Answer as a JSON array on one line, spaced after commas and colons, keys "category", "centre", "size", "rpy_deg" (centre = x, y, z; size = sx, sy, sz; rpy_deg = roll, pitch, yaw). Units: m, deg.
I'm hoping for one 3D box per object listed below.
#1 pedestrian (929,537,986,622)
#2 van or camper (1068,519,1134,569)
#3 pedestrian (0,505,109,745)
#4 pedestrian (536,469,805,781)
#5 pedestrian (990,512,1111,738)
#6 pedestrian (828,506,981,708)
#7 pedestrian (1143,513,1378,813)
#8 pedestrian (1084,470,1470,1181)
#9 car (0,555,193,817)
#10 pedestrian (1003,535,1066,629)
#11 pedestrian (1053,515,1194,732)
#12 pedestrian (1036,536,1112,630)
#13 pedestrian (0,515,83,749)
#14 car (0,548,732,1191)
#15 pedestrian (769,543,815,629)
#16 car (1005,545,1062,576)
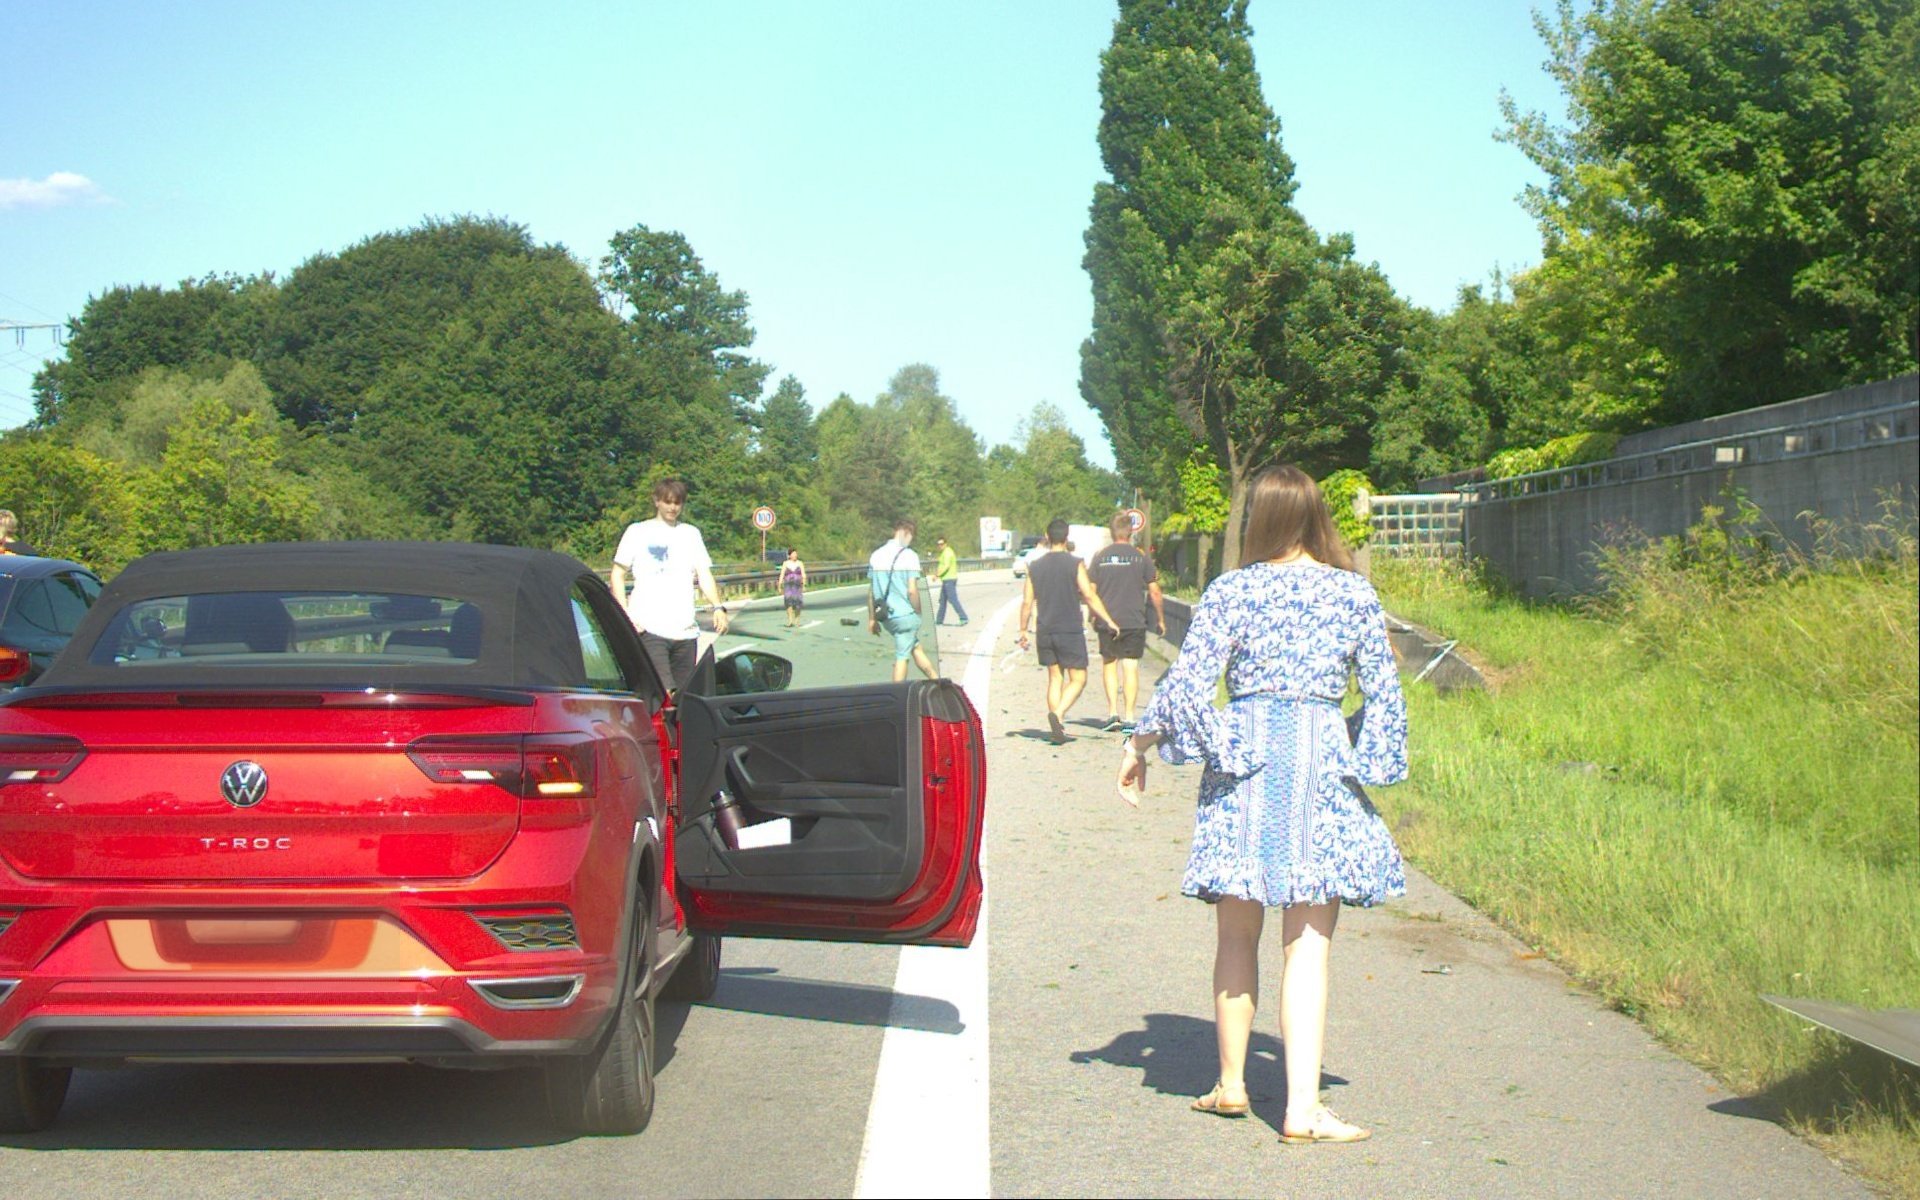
[{"category": "pedestrian", "centre": [-0.040, -0.412, 68.396], "size": [1.014, 1.683, 1.059], "rpy_deg": [0, 0, 6]}, {"category": "van or camper", "centre": [6.650, -2.627, 161.962], "size": [1.995, 2.308, 4.466], "rpy_deg": [1, 1, 18]}, {"category": "pedestrian", "centre": [-7.505, 0.189, 27.560], "size": [1.065, 1.876, 1.093], "rpy_deg": [-1, 1, 0]}, {"category": "pedestrian", "centre": [-1.830, 0.142, 21.798], "size": [1.255, 1.906, 1.107], "rpy_deg": [-1, 1, 30]}, {"category": "pedestrian", "centre": [0.692, 0.185, 26.604], "size": [0.894, 1.719, 0.754], "rpy_deg": [0, 0, 0]}, {"category": "pedestrian", "centre": [-0.510, 0.059, 30.935], "size": [1.087, 1.782, 1.108], "rpy_deg": [0, 0, -18]}, {"category": "pedestrian", "centre": [1.729, 0.345, 19.621], "size": [1.274, 1.648, 0.960], "rpy_deg": [-1, 1, 7]}, {"category": "pedestrian", "centre": [0.788, 0.532, 8.790], "size": [0.890, 1.689, 1.128], "rpy_deg": [-1, 1, 3]}, {"category": "car", "centre": [-6.050, 0.444, 21.155], "size": [1.694, 1.421, 4.334], "rpy_deg": [0, 1, 0]}, {"category": "pedestrian", "centre": [1.358, -0.332, 62.542], "size": [1.113, 1.683, 0.973], "rpy_deg": [0, 0, 0]}, {"category": "pedestrian", "centre": [1.349, 0.187, 28.395], "size": [0.827, 1.753, 0.812], "rpy_deg": [1, 0, 41]}, {"category": "pedestrian", "centre": [2.068, -0.312, 62.277], "size": [1.007, 1.683, 0.999], "rpy_deg": [0, 0, -27]}, {"category": "pedestrian", "centre": [-7.440, 0.240, 26.388], "size": [1.114, 1.757, 1.044], "rpy_deg": [-1, 1, 0]}, {"category": "car", "centre": [-1.680, 0.598, 10.134], "size": [1.732, 1.482, 4.210], "rpy_deg": [0, 1, 0]}, {"category": "pedestrian", "centre": [-3.330, -0.278, 68.253], "size": [0.791, 1.683, 0.792], "rpy_deg": [0, 0, 5]}, {"category": "car", "centre": [3.623, -1.950, 168.795], "size": [1.734, 1.482, 4.207], "rpy_deg": [1, 1, 17]}]
